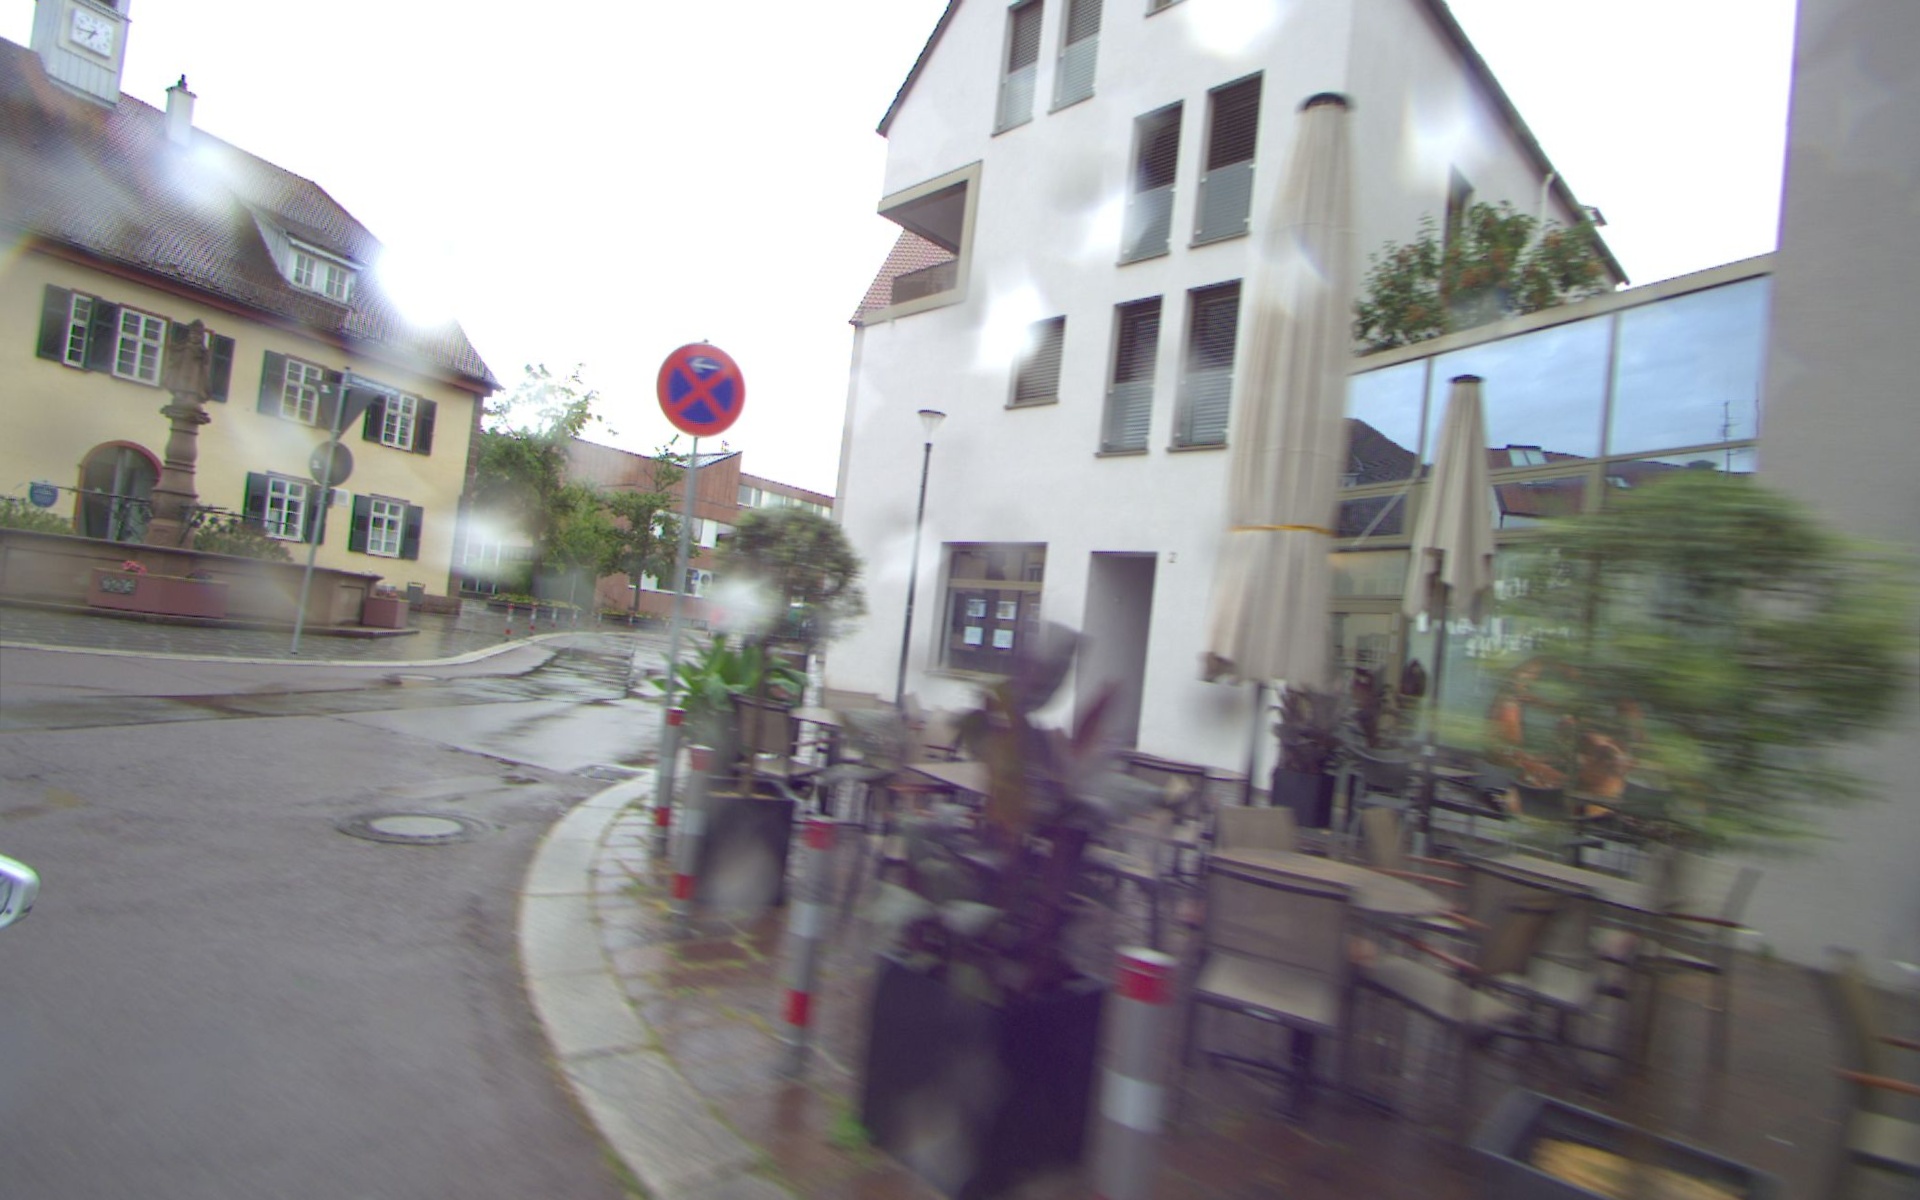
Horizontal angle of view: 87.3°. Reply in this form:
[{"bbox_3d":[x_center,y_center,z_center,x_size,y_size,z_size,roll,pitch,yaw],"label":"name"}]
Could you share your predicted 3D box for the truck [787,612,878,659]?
[{"bbox_3d":[-7.108,1.973,55.860,4.991,2.081,1.993,4,-3,39],"label":"truck"}]
